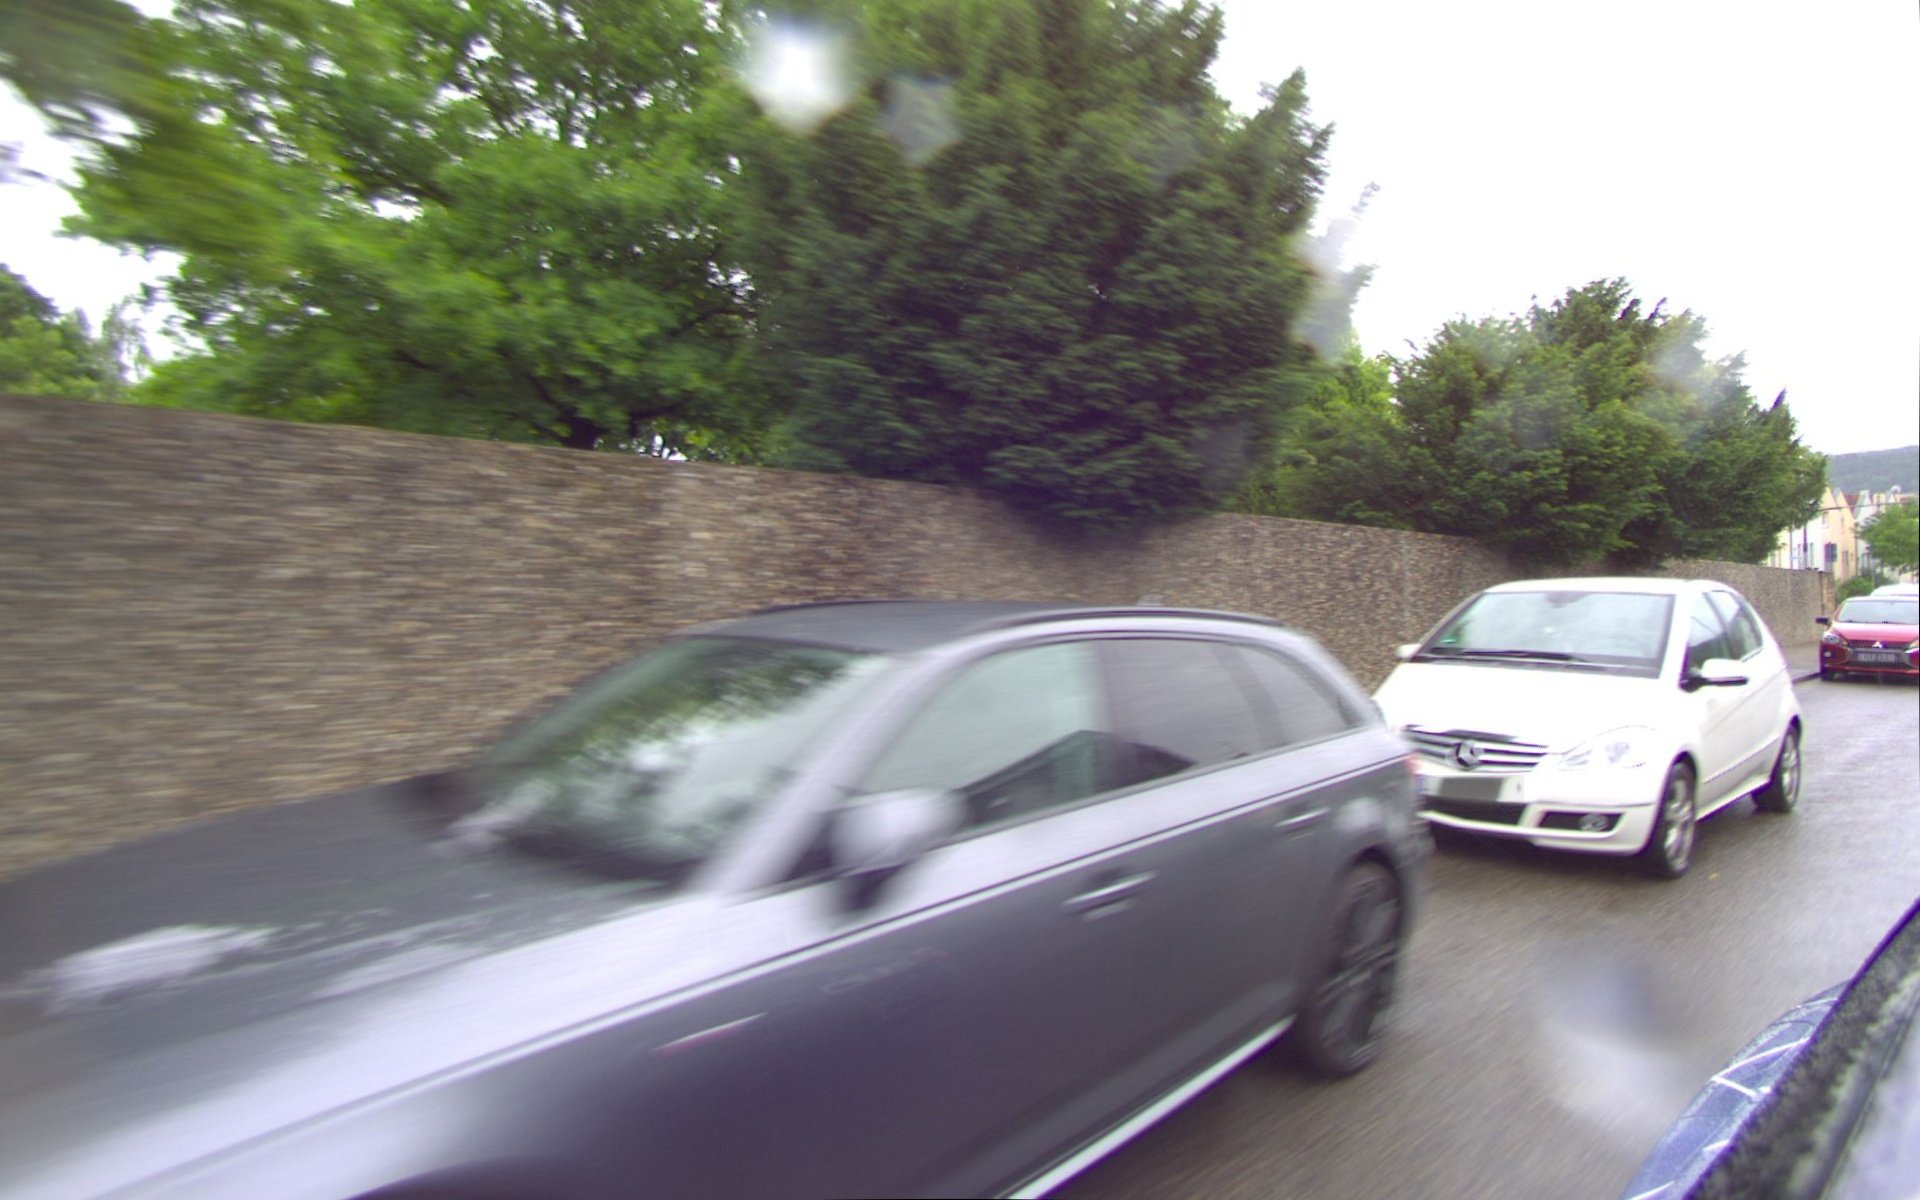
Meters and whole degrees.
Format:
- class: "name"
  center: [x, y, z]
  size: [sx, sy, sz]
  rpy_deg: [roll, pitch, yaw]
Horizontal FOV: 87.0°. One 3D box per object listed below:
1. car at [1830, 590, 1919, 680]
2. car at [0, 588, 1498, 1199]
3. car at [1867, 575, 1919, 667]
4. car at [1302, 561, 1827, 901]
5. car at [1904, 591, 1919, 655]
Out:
- class: "car"
  center: [16.795, 0.581, 18.065]
  size: [3.603, 1.473, 1.585]
  rpy_deg: [0, 0, -44]
- class: "car"
  center: [-0.275, 0.724, 2.815]
  size: [4.618, 1.465, 1.766]
  rpy_deg: [-1, 1, -43]
- class: "car"
  center: [20.420, 0.374, 21.168]
  size: [4.064, 1.763, 1.640]
  rpy_deg: [-2, 0, -41]
- class: "car"
  center: [4.117, 0.573, 6.669]
  size: [3.811, 1.593, 1.818]
  rpy_deg: [-1, 1, -40]
- class: "car"
  center: [24.808, 0.520, 25.062]
  size: [3.931, 1.480, 1.648]
  rpy_deg: [-2, 1, -41]
